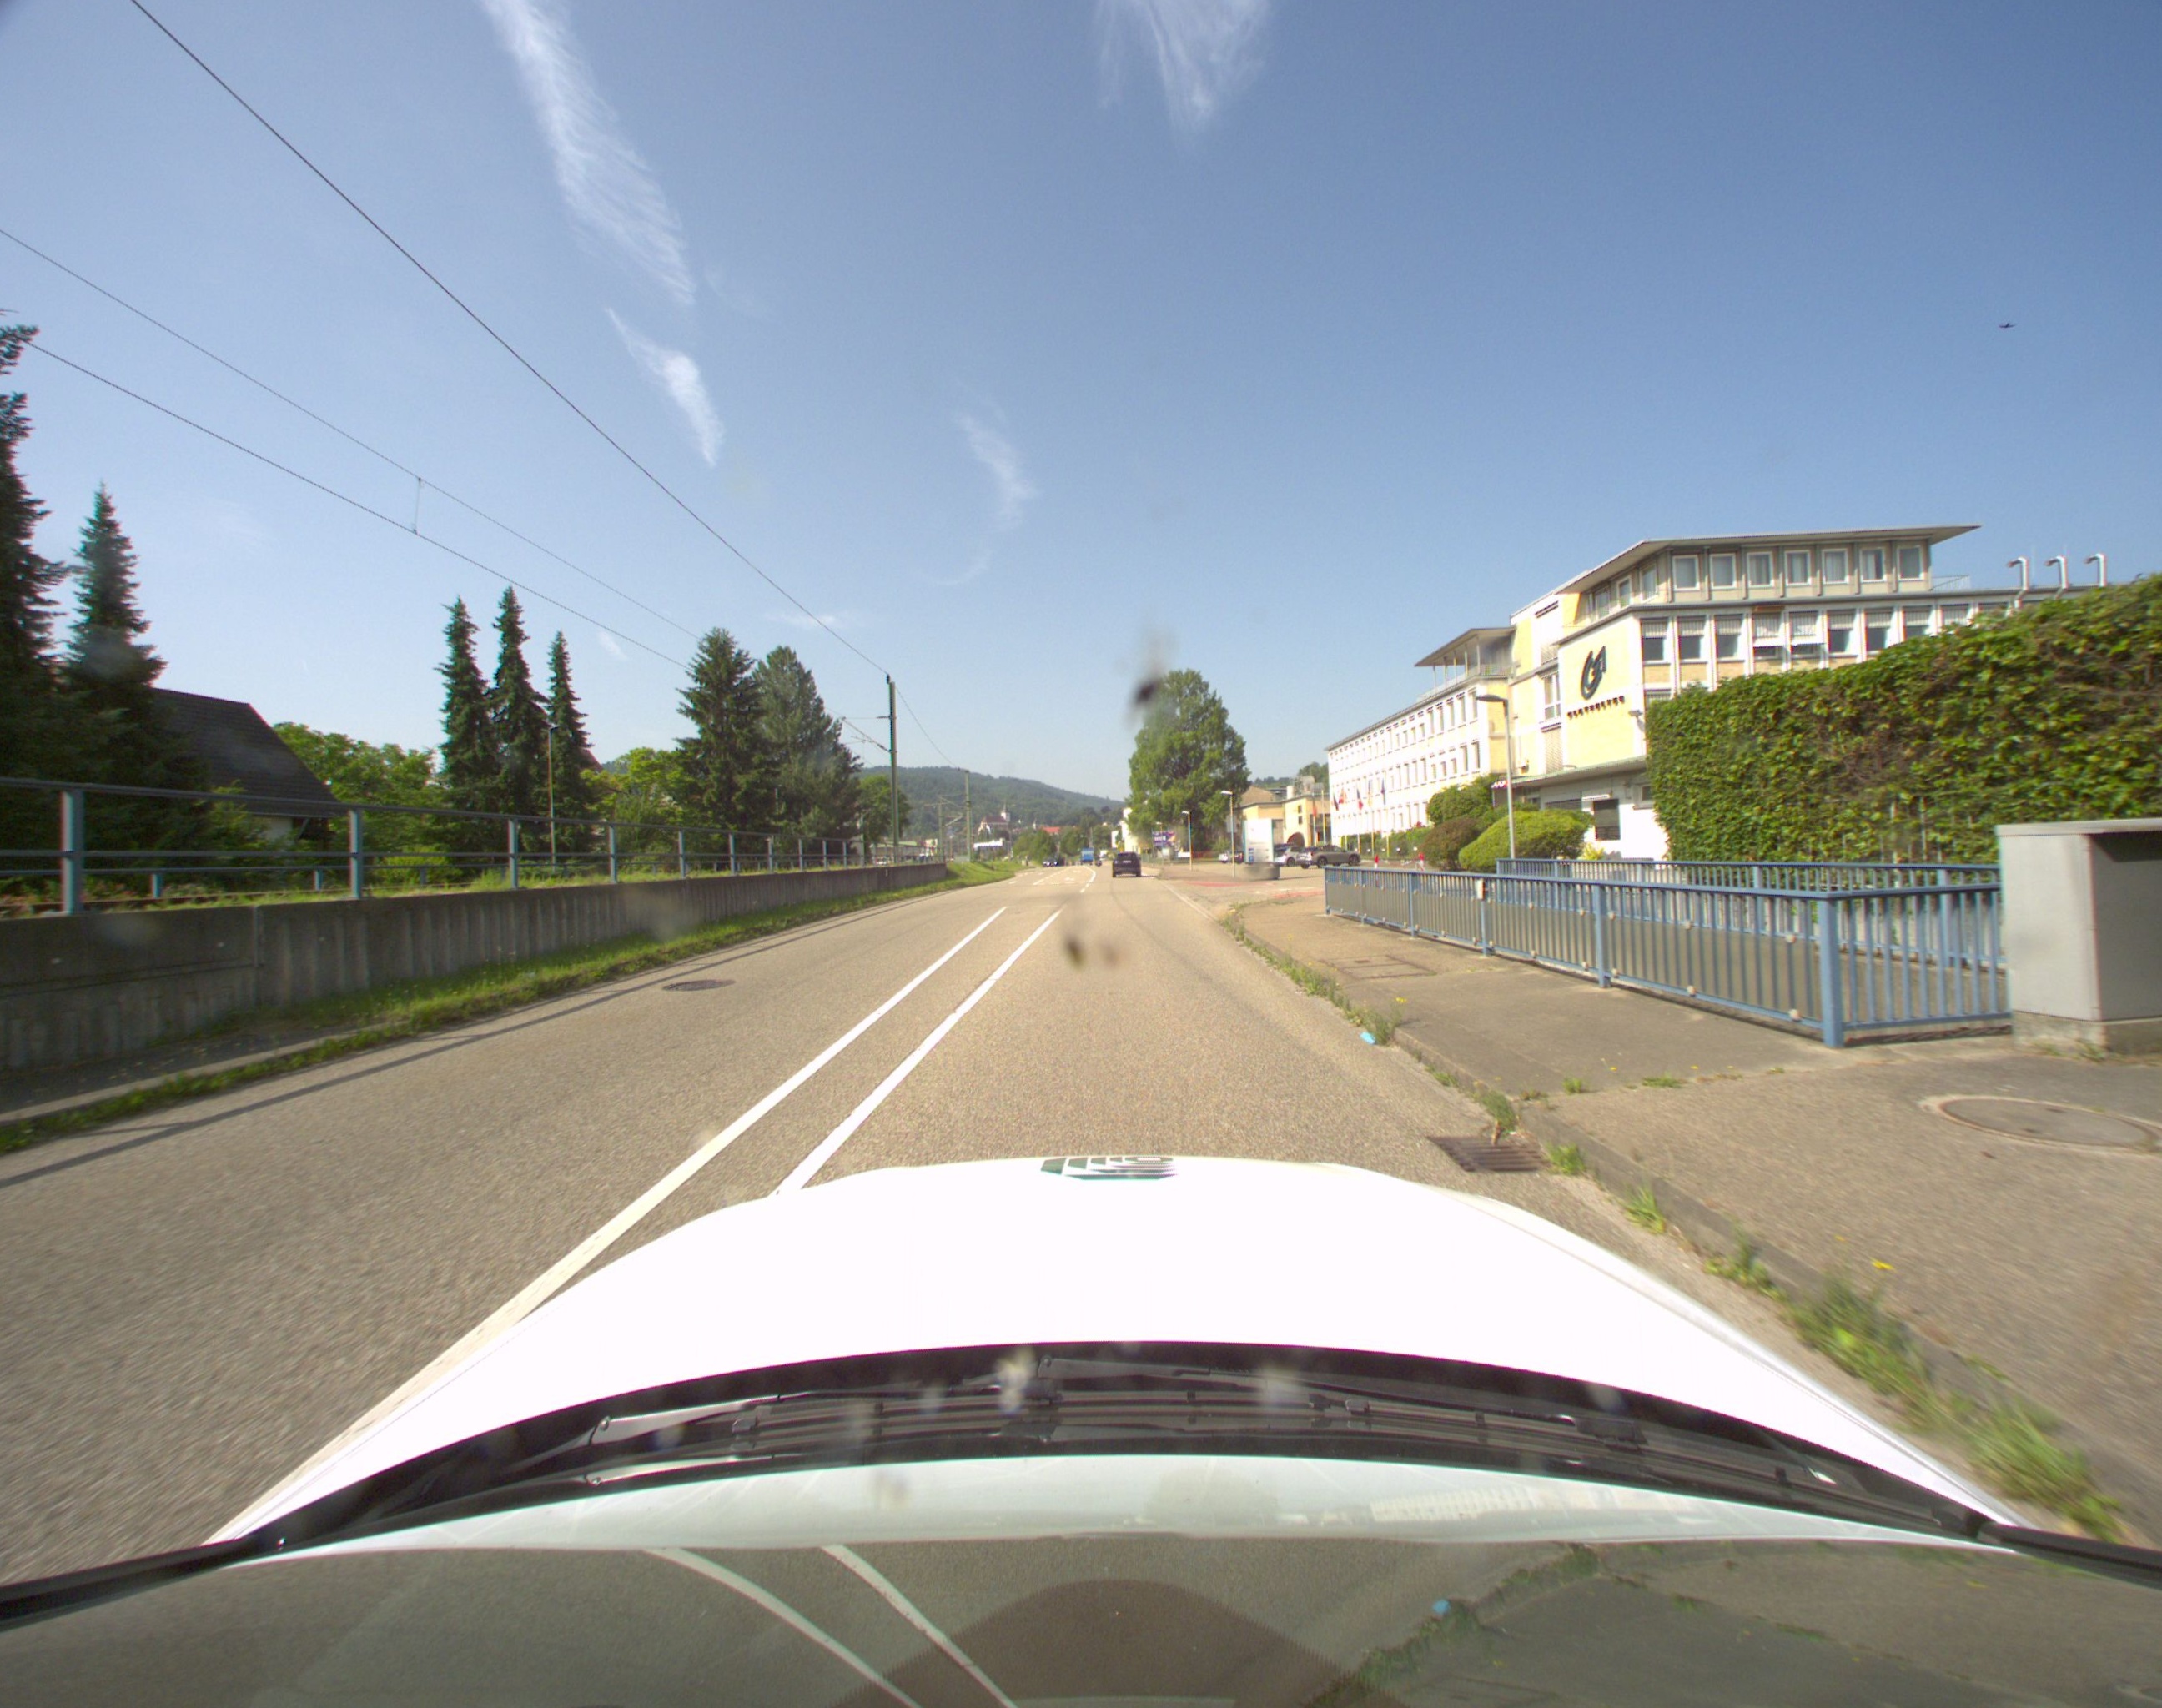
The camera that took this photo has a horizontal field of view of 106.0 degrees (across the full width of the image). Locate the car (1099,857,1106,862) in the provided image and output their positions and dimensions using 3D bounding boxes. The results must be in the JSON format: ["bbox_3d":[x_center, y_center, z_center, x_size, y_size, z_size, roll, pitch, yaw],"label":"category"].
[{"bbox_3d":[5.813,1.492,221.439,1.760,1.486,4.002,-1,-1,2],"label":"car"}]

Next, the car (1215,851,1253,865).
[{"bbox_3d":[17.228,0.478,91.556,4.012,1.401,1.648,-2,0,-30],"label":"car"}]

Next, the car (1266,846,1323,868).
[{"bbox_3d":[16.523,0.222,62.904,4.010,1.505,1.869,-2,0,-28],"label":"car"}]

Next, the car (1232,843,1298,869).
[{"bbox_3d":[14.636,0.153,64.782,5.049,1.832,1.965,-2,-1,-28],"label":"car"}]

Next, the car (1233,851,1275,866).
[{"bbox_3d":[17.668,0.422,83.169,4.012,1.401,1.648,-2,0,-30],"label":"car"}]

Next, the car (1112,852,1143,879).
[{"bbox_3d":[3.008,0.744,53.139,1.911,1.640,4.003,-2,0,3],"label":"car"}]

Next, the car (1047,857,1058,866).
[{"bbox_3d":[-4.773,1.310,136.564,1.750,1.429,3.998,-2,0,-1],"label":"car"}]

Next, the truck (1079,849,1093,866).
[{"bbox_3d":[0.893,0.654,148.395,2.306,2.970,5.962,-2,0,-1],"label":"truck"}]

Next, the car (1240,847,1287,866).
[{"bbox_3d":[17.492,0.226,77.928,4.184,1.672,1.852,-2,0,-28],"label":"car"}]

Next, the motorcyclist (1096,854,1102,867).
[{"bbox_3d":[2.146,0.787,96.942,0.604,1.520,0.863,-2,-1,1],"label":"motorcyclist"}]

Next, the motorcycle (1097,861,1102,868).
[{"bbox_3d":[2.181,1.222,96.939,0.604,0.753,1.415,-2,0,1],"label":"motorcycle"}]

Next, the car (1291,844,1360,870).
[{"bbox_3d":[16.327,0.207,54.359,4.322,1.505,1.869,-2,0,-28],"label":"car"}]
